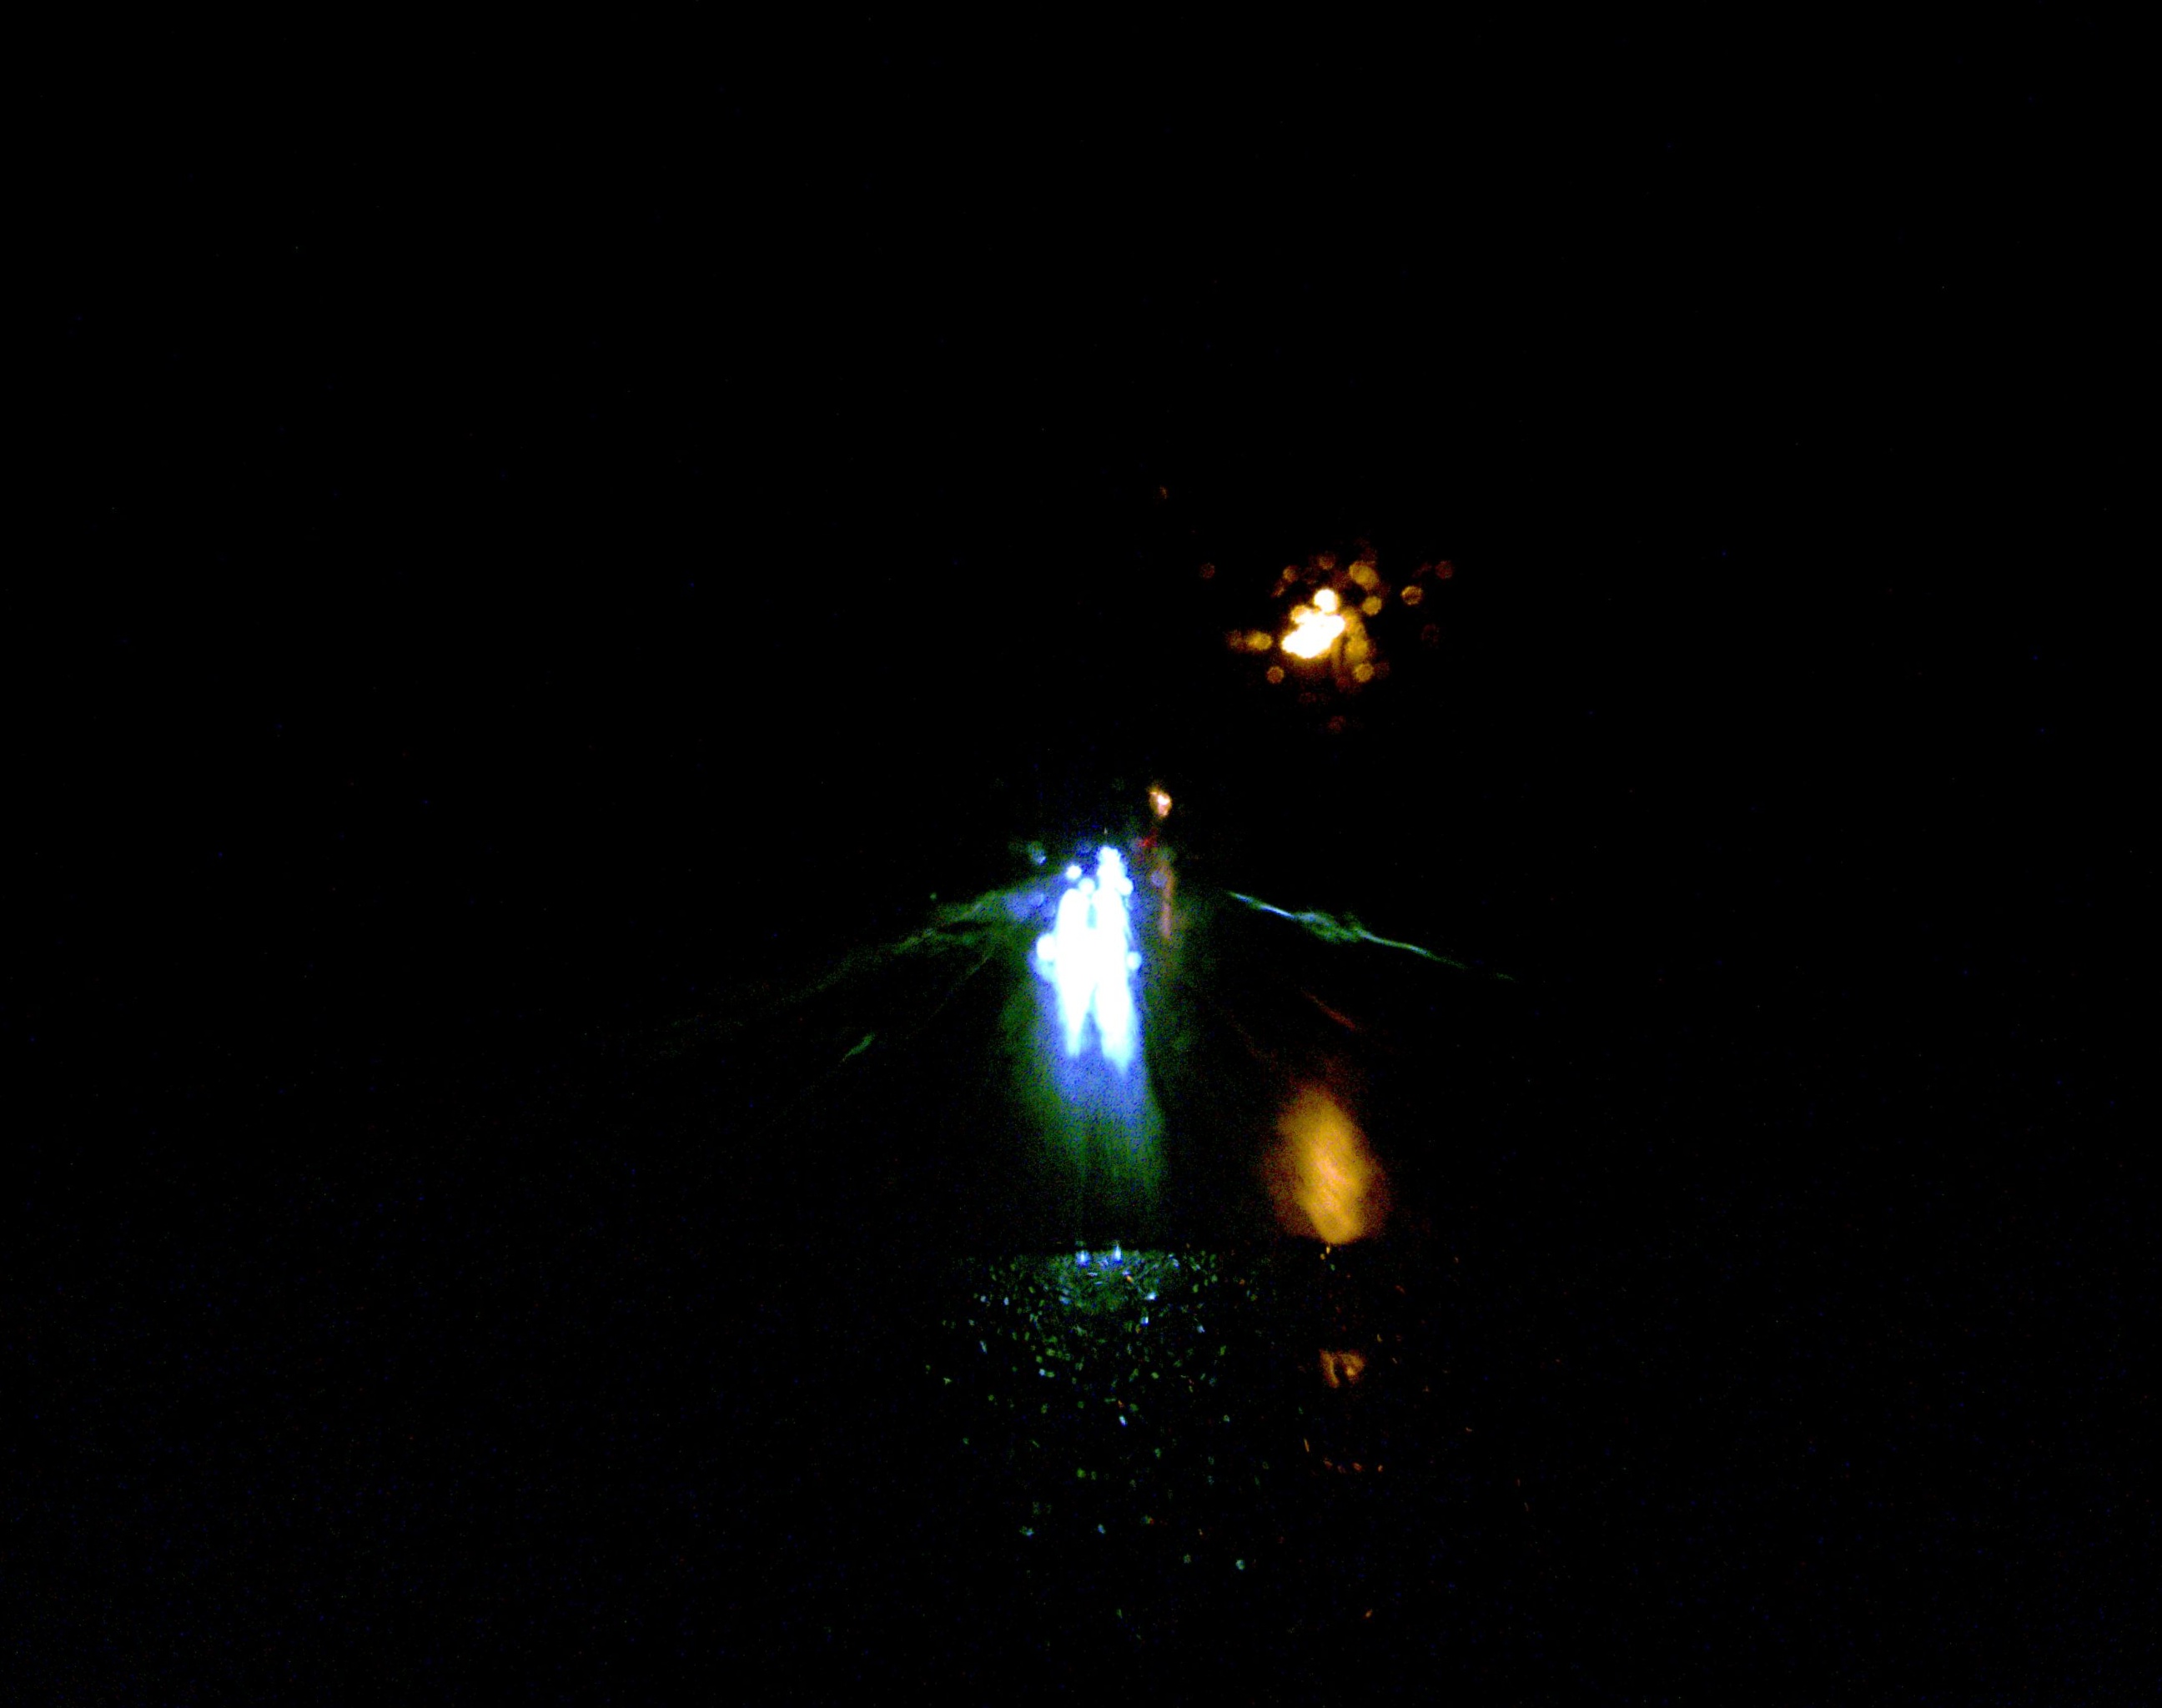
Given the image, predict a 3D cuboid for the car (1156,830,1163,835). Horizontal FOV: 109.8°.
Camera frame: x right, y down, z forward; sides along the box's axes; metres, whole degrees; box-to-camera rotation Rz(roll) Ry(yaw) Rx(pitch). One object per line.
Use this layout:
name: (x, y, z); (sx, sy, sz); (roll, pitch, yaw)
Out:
car: (22.119, -6.085, 214.866); (1.805, 1.484, 3.867); (-2, 3, 5)

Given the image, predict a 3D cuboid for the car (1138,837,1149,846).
car: (11.264, -2.217, 136.390); (1.919, 1.467, 4.203); (-3, 2, 4)

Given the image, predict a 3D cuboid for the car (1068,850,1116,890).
car: (0.568, 0.711, 34.682); (1.944, 1.580, 4.776); (-3, -1, 2)
